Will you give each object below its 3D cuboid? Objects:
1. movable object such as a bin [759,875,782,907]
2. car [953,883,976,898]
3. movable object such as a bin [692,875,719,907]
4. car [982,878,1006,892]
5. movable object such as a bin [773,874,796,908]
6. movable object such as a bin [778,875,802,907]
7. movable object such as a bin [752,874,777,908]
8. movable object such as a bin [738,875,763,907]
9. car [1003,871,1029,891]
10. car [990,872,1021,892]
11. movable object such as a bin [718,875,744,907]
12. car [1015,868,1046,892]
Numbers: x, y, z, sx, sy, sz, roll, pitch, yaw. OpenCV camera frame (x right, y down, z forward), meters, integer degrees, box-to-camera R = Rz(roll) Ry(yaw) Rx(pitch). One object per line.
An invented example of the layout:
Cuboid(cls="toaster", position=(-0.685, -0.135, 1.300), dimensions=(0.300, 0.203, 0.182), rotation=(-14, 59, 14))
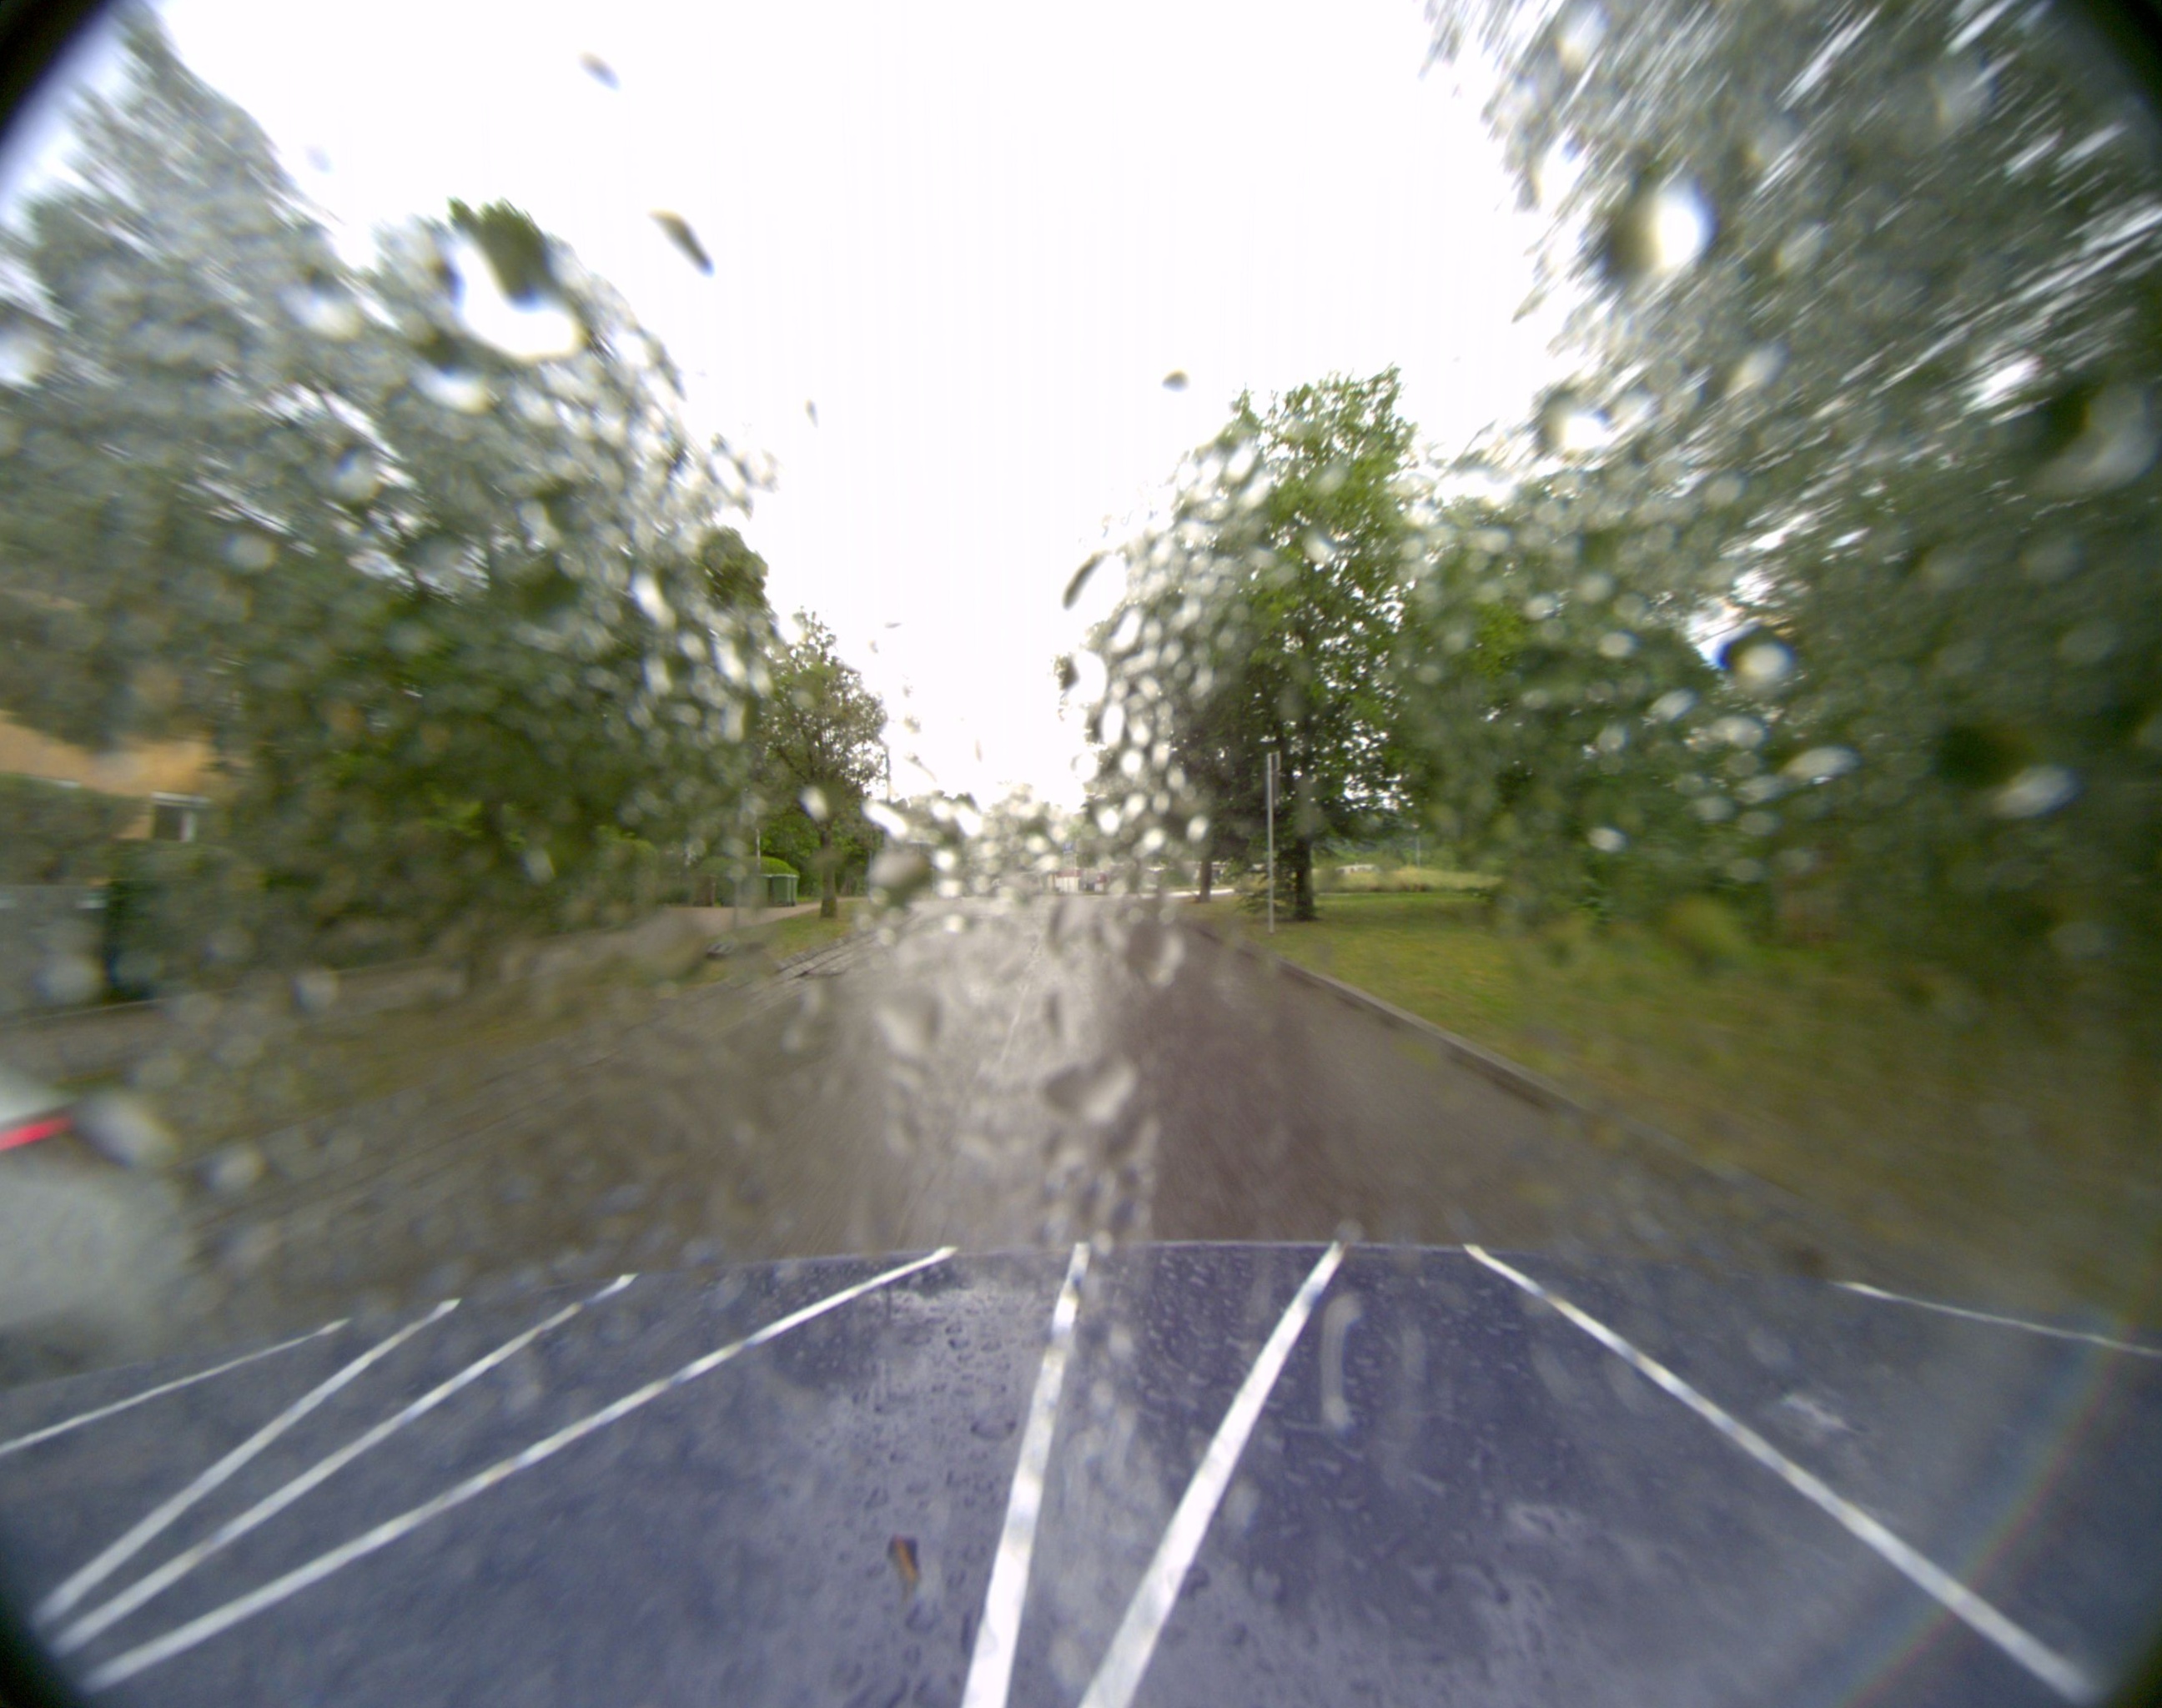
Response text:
Cuboid(cls="movable object such as a bin", position=(-10.376, 1.229, 25.371), dimensions=(0.543, 1.068, 0.696), rotation=(0, -2, -8))
Cuboid(cls="car", position=(-13.409, 4.221, 87.555), dimensions=(1.964, 1.596, 3.997), rotation=(0, -6, -18))
Cuboid(cls="movable object such as a bin", position=(-12.407, 1.227, 25.147), dimensions=(0.605, 1.048, 0.696), rotation=(0, -2, -8))
Cuboid(cls="car", position=(-8.146, 2.922, 70.953), dimensions=(1.735, 1.273, 3.325), rotation=(0, -3, -17))
Cuboid(cls="movable object such as a bin", position=(-9.627, 1.200, 24.719), dimensions=(0.543, 1.067, 0.667), rotation=(0, -2, -7))
Cuboid(cls="movable object such as a bin", position=(-9.749, 1.230, 25.443), dimensions=(0.602, 1.068, 0.696), rotation=(0, -2, -8))
Cuboid(cls="movable object such as a bin", position=(-10.263, 1.202, 24.652), dimensions=(0.597, 1.066, 0.696), rotation=(0, -2, -8))
Cuboid(cls="movable object such as a bin", position=(-11.005, 1.228, 25.292), dimensions=(0.579, 1.060, 0.696), rotation=(0, -2, -8))
Cuboid(cls="car", position=(-4.896, 2.041, 56.886), dimensions=(1.554, 1.427, 3.010), rotation=(-1, -3, -11))
Cuboid(cls="car", position=(-6.293, 2.334, 62.932), dimensions=(1.853, 1.542, 3.987), rotation=(0, -4, -16))
Cuboid(cls="movable object such as a bin", position=(-11.630, 1.234, 25.246), dimensions=(0.605, 1.048, 0.696), rotation=(0, -2, -8))
Cuboid(cls="car", position=(-3.465, 1.765, 51.313), dimensions=(1.680, 1.470, 3.552), rotation=(-1, -2, -10))
